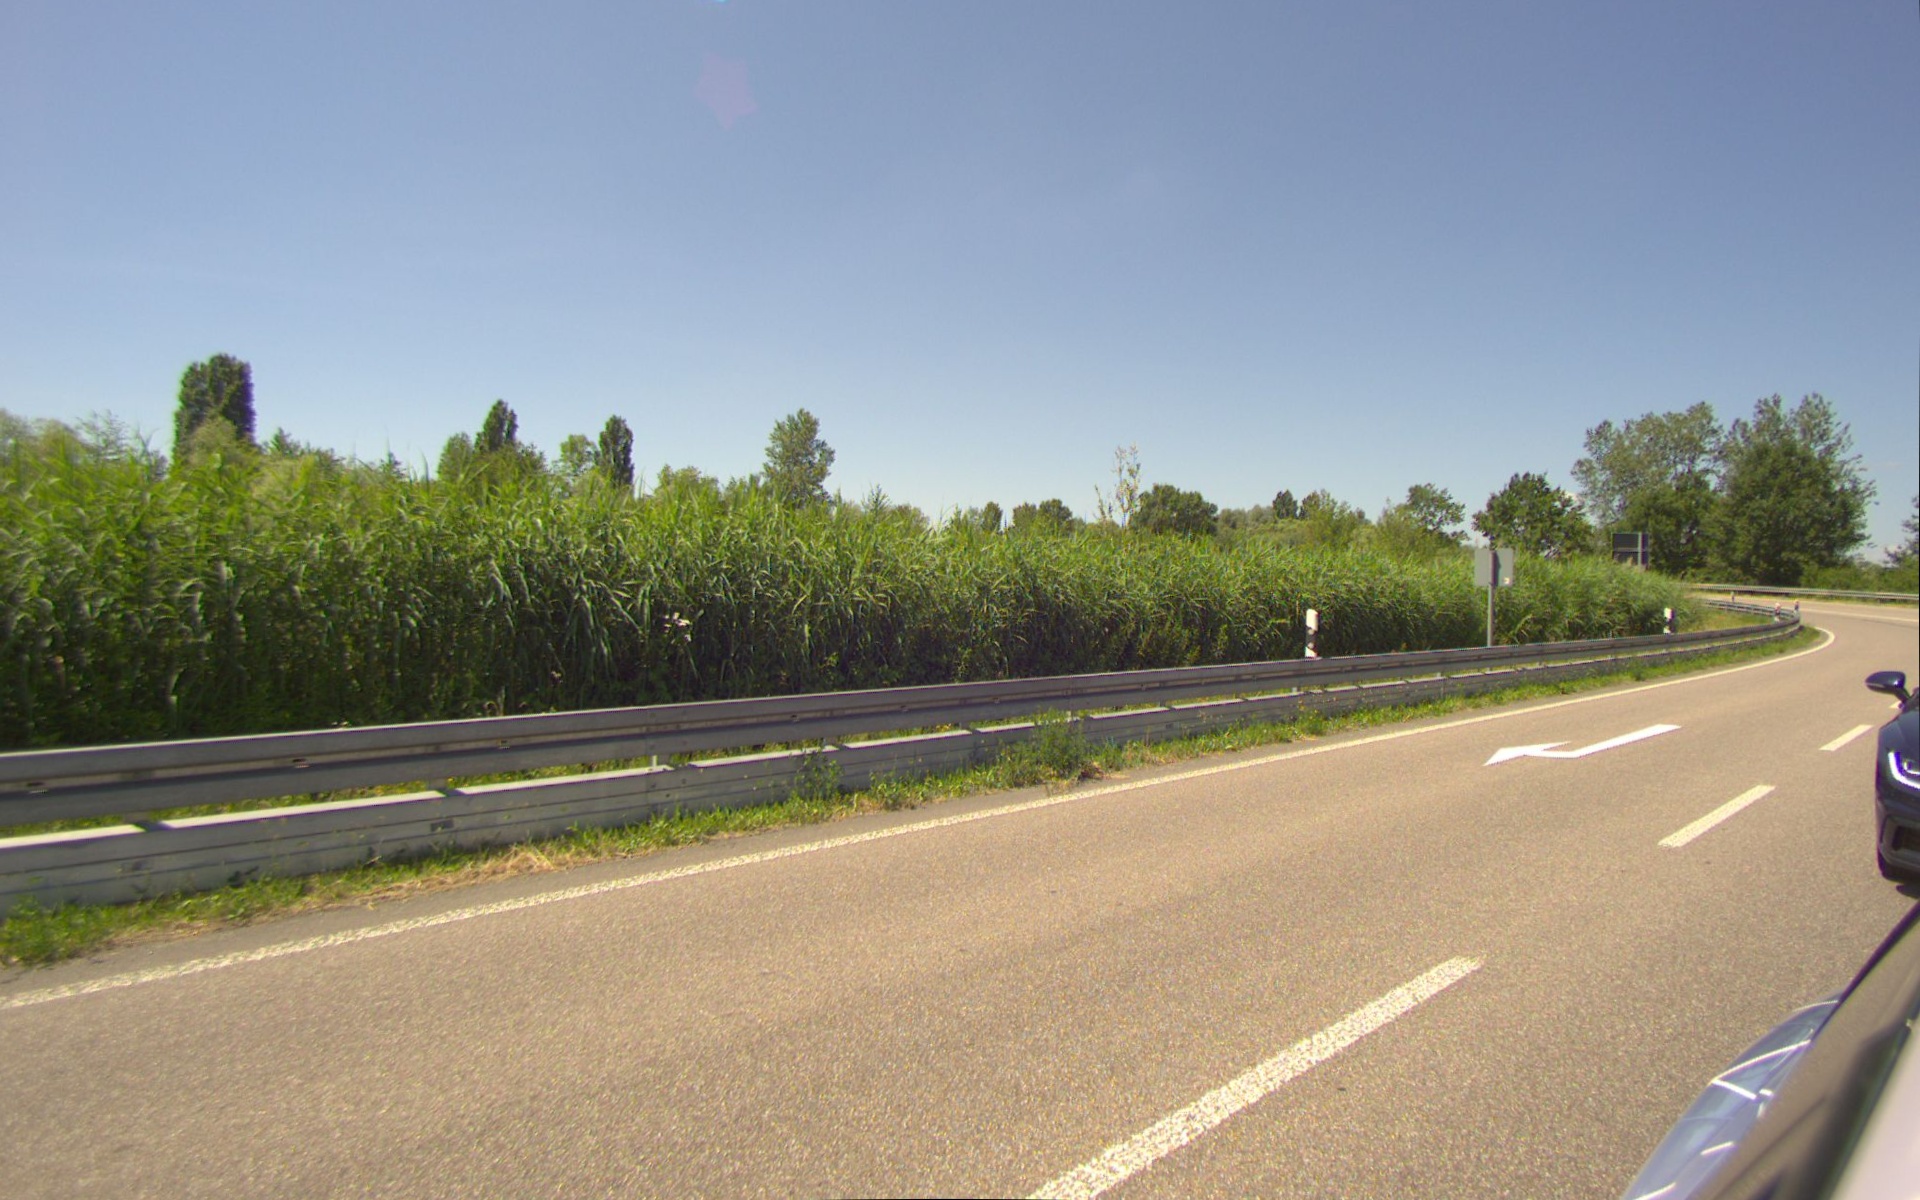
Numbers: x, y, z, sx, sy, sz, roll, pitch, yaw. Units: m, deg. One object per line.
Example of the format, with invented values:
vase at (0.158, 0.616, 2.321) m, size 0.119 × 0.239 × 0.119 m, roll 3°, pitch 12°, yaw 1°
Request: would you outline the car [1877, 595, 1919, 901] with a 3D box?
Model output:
car at (6.460, 0.687, 5.508) m, size 3.931 × 1.427 × 1.759 m, roll -1°, pitch 1°, yaw -41°
